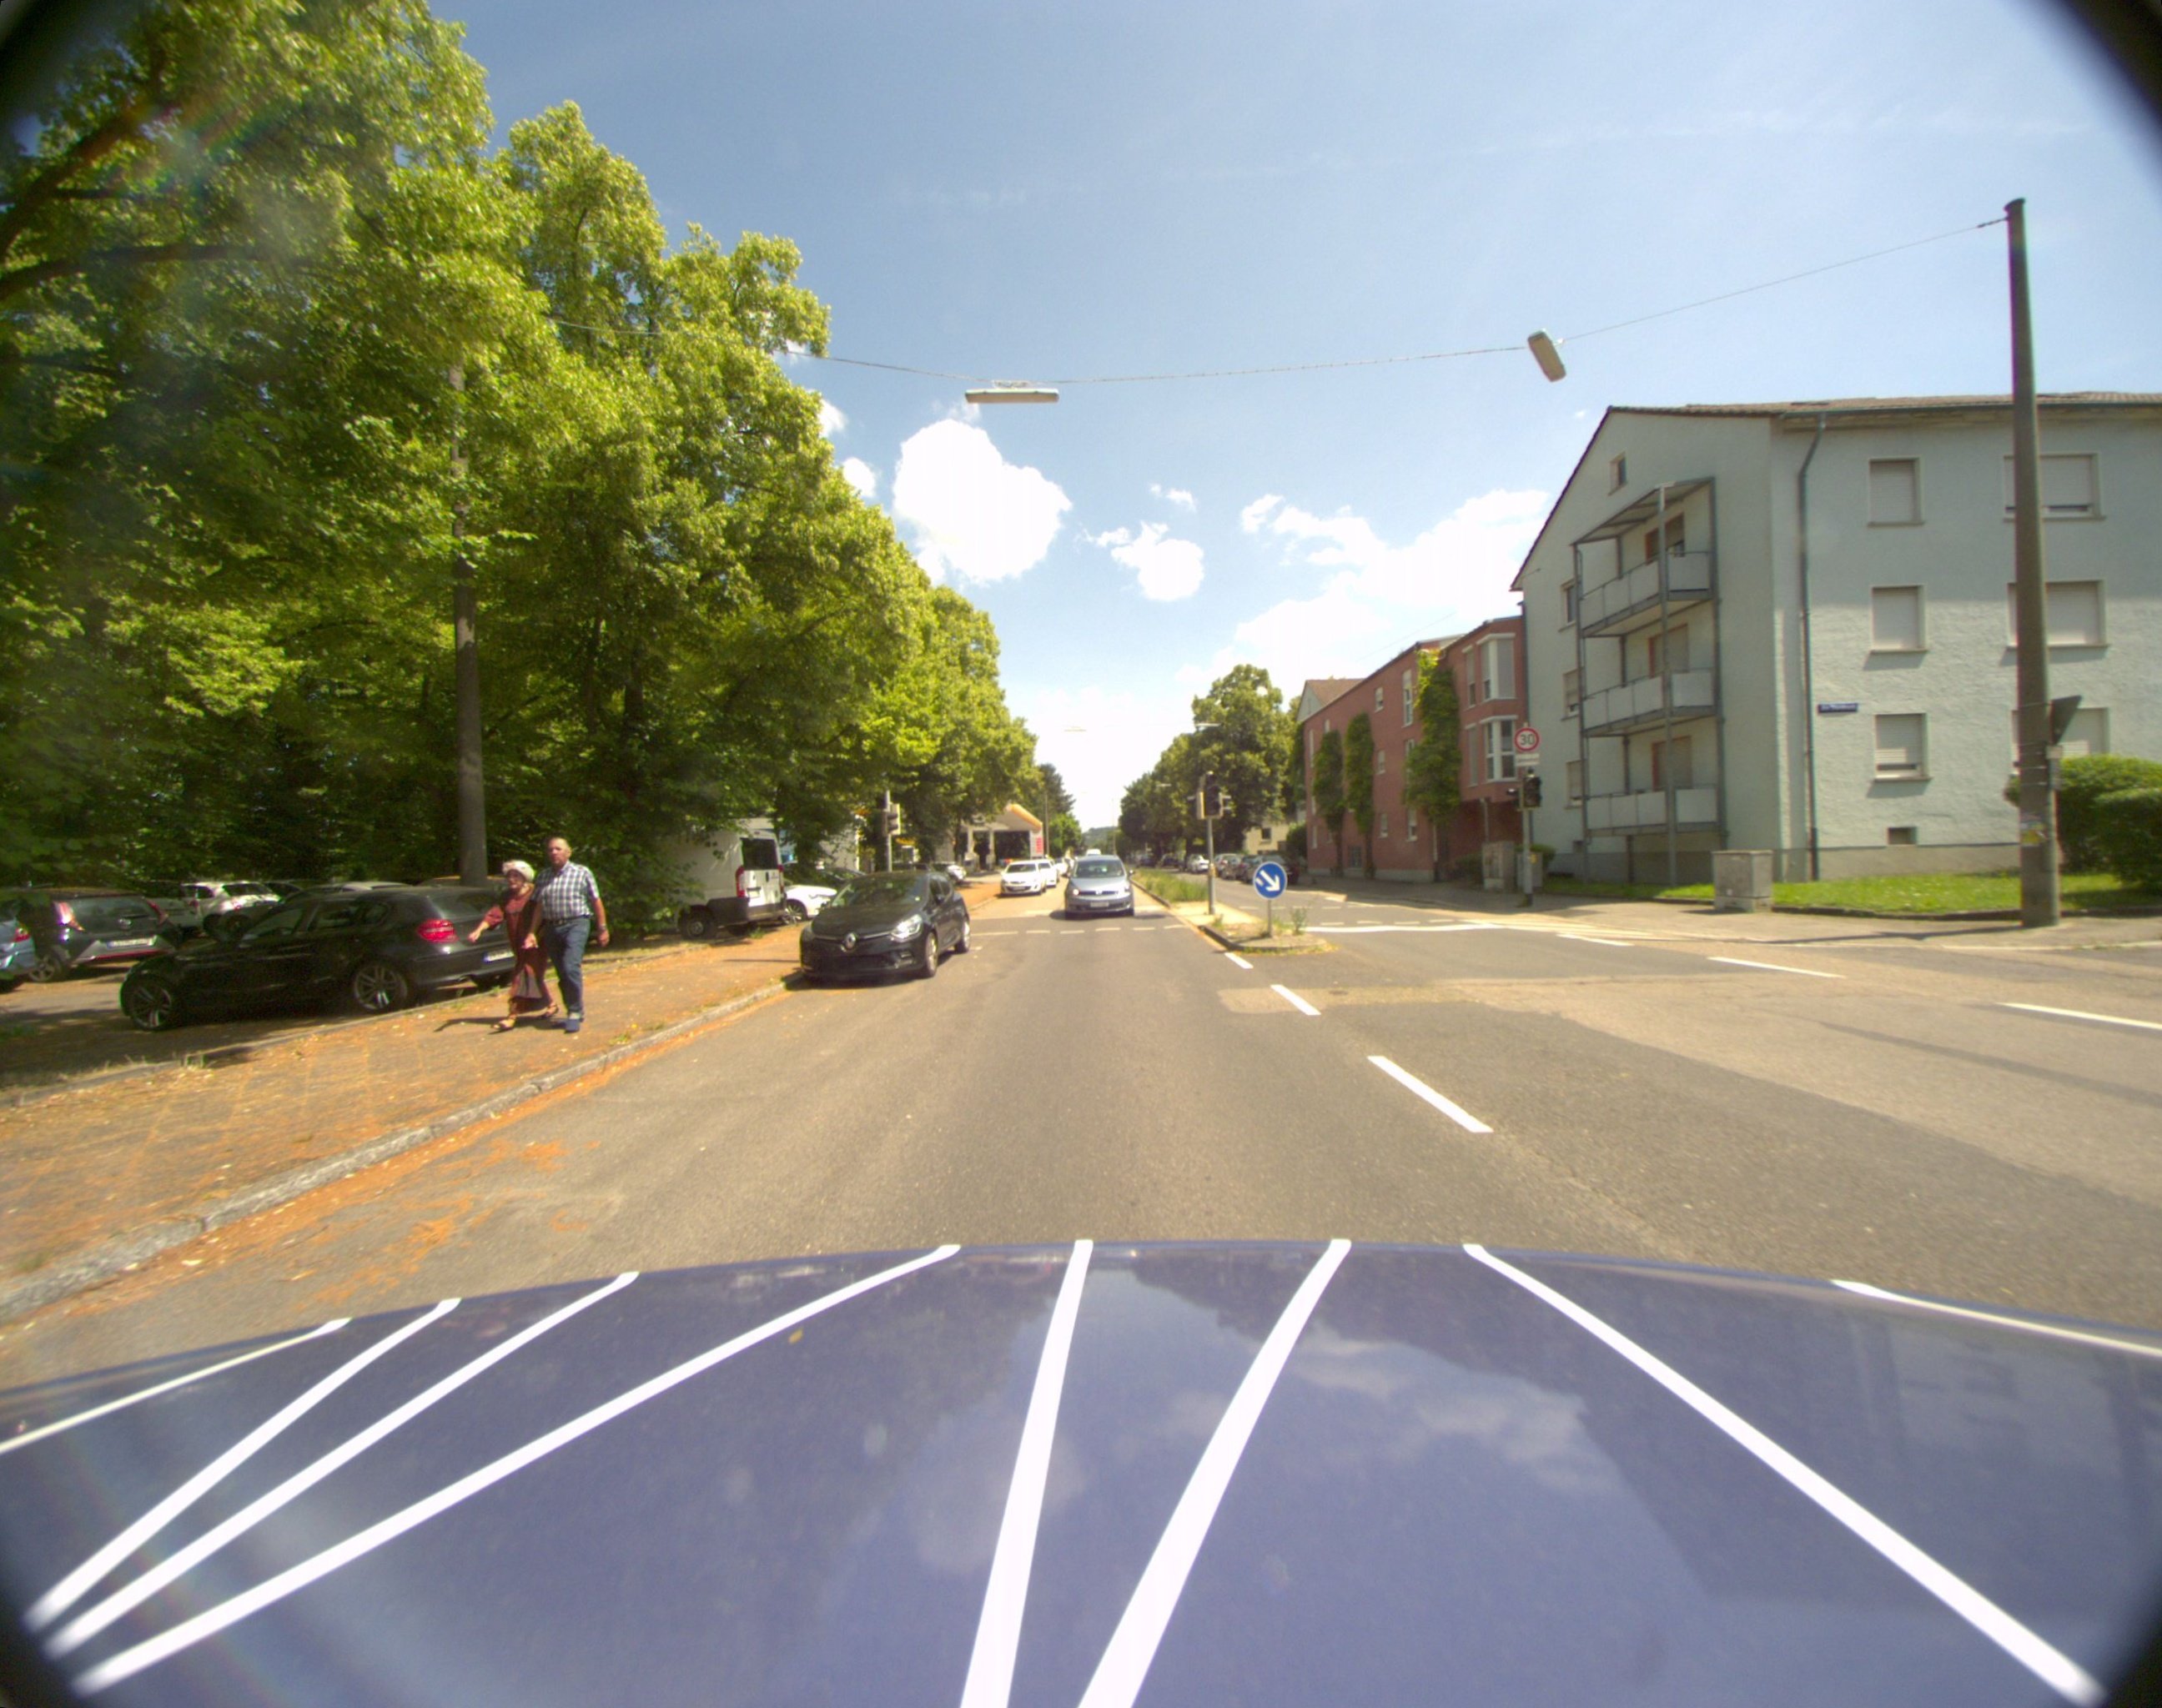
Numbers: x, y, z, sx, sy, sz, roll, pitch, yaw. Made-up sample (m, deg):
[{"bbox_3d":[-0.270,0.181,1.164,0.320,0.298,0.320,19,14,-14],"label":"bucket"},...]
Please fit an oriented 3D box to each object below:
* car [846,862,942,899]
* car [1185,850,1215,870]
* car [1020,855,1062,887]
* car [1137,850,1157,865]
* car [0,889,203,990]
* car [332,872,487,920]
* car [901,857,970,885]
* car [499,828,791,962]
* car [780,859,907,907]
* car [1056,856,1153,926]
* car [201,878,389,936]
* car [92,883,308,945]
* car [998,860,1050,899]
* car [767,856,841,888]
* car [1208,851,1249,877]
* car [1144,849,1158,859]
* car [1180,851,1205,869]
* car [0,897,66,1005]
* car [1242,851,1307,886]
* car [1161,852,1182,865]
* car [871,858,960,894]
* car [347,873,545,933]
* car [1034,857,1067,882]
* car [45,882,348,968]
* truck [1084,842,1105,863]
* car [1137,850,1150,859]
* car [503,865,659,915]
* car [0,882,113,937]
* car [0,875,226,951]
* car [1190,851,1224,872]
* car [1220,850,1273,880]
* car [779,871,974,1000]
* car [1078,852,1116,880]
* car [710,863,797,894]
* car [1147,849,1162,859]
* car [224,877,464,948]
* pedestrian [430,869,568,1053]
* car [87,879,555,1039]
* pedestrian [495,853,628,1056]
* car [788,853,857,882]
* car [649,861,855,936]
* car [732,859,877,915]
[{"bbox_3d":[-8.069,1.131,33.050,3.848,1.350,1.628,-3,1,-8],"label":"car"},{"bbox_3d":[9.787,0.504,62.805,1.752,1.499,3.999,-3,0,-1],"label":"car"},{"bbox_3d":[-2.080,0.876,40.551,1.867,1.516,4.208,-3,0,1],"label":"car"},{"bbox_3d":[7.373,0.340,84.674,1.752,1.499,3.999,-3,0,-1],"label":"car"},{"bbox_3d":[-17.831,1.414,12.825,3.996,1.464,1.804,-1,1,2],"label":"car"},{"bbox_3d":[-22.797,1.396,25.886,3.806,1.456,1.738,-1,0,3],"label":"car"},{"bbox_3d":[-8.571,0.989,44.988,3.762,1.518,1.853,-2,0,-3],"label":"car"},{"bbox_3d":[-8.737,0.786,15.574,4.614,2.263,2.106,-4,0,1],"label":"car"},{"bbox_3d":[-8.678,1.049,27.999,4.078,1.485,1.636,-3,1,-1],"label":"car"},{"bbox_3d":[0.725,0.877,19.681,1.745,1.513,4.226,-2,0,12],"label":"car"},{"bbox_3d":[-23.090,1.530,22.407,3.806,1.483,1.738,-2,0,3],"label":"car"},{"bbox_3d":[-23.305,1.566,20.196,3.806,1.456,1.738,-1,0,3],"label":"car"},{"bbox_3d":[-2.398,1.042,33.031,1.721,1.434,4.111,-4,0,2],"label":"car"},{"bbox_3d":[-16.844,1.059,46.314,3.808,1.840,1.932,-1,0,-3],"label":"car"},{"bbox_3d":[9.497,0.603,49.198,1.752,1.499,3.999,-3,0,-1],"label":"car"},{"bbox_3d":[10.412,-0.050,113.012,1.757,1.325,3.607,-3,0,-1],"label":"car"},{"bbox_3d":[9.914,0.530,67.971,1.572,1.499,3.999,-3,0,-1],"label":"car"},{"bbox_3d":[-17.156,1.422,10.469,3.996,1.464,1.804,-1,1,2],"label":"car"},{"bbox_3d":[9.293,0.662,36.877,1.891,1.531,4.567,-2,0,-1],"label":"car"},{"bbox_3d":[10.211,0.532,85.920,1.757,1.325,3.607,-3,0,-1],"label":"car"},{"bbox_3d":[-8.022,1.073,36.931,3.763,1.526,1.631,-3,1,12],"label":"car"},{"bbox_3d":[-17.513,1.332,21.084,3.996,1.464,1.804,-1,1,2],"label":"car"},{"bbox_3d":[-1.850,0.933,47.039,1.775,1.434,3.338,-3,0,1],"label":"car"},{"bbox_3d":[-17.488,1.378,15.164,3.996,1.464,1.804,-1,1,2],"label":"car"},{"bbox_3d":[1.597,-0.208,87.079,1.866,2.211,4.506,-3,0,6],"label":"truck"},{"bbox_3d":[10.610,0.079,129.159,1.757,1.325,3.607,-3,0,-1],"label":"car"},{"bbox_3d":[-17.611,1.249,26.926,4.263,1.578,1.818,-1,0,-1],"label":"car"},{"bbox_3d":[-33.312,1.756,23.873,3.806,1.558,1.738,-2,1,5],"label":"car"},{"bbox_3d":[-22.866,1.348,17.799,3.806,1.579,1.738,-1,0,3],"label":"car"},{"bbox_3d":[9.297,0.548,56.291,1.752,1.433,3.999,-3,0,-1],"label":"car"},{"bbox_3d":[9.339,0.598,43.237,1.891,1.531,4.567,-2,0,-1],"label":"car"},{"bbox_3d":[-2.797,1.047,11.328,1.667,1.420,4.000,-2,0,1],"label":"car"},{"bbox_3d":[0.932,0.706,45.952,1.868,1.516,4.290,-3,0,-4],"label":"car"},{"bbox_3d":[-17.248,1.281,40.168,3.808,1.456,1.737,-1,0,-3],"label":"car"},{"bbox_3d":[10.399,-0.001,107.750,1.757,1.325,3.607,-3,0,-1],"label":"car"},{"bbox_3d":[-17.453,1.366,18.135,3.996,1.464,1.804,-1,1,2],"label":"car"},{"bbox_3d":[-5.395,0.955,7.088,0.618,1.584,0.737,-3,1,0],"label":"pedestrian"},{"bbox_3d":[-9.060,1.209,9.303,3.996,1.464,1.717,-4,1,3],"label":"car"},{"bbox_3d":[-4.794,0.888,7.062,0.618,1.754,0.737,-3,1,0],"label":"pedestrian"},{"bbox_3d":[-18.832,0.974,55.517,4.374,1.985,1.854,-1,1,-3],"label":"car"},{"bbox_3d":[-8.235,1.084,19.291,4.336,1.485,1.808,-4,0,-1],"label":"car"},{"bbox_3d":[-9.045,1.053,25.053,4.078,1.485,1.636,-4,1,-1],"label":"car"}]
